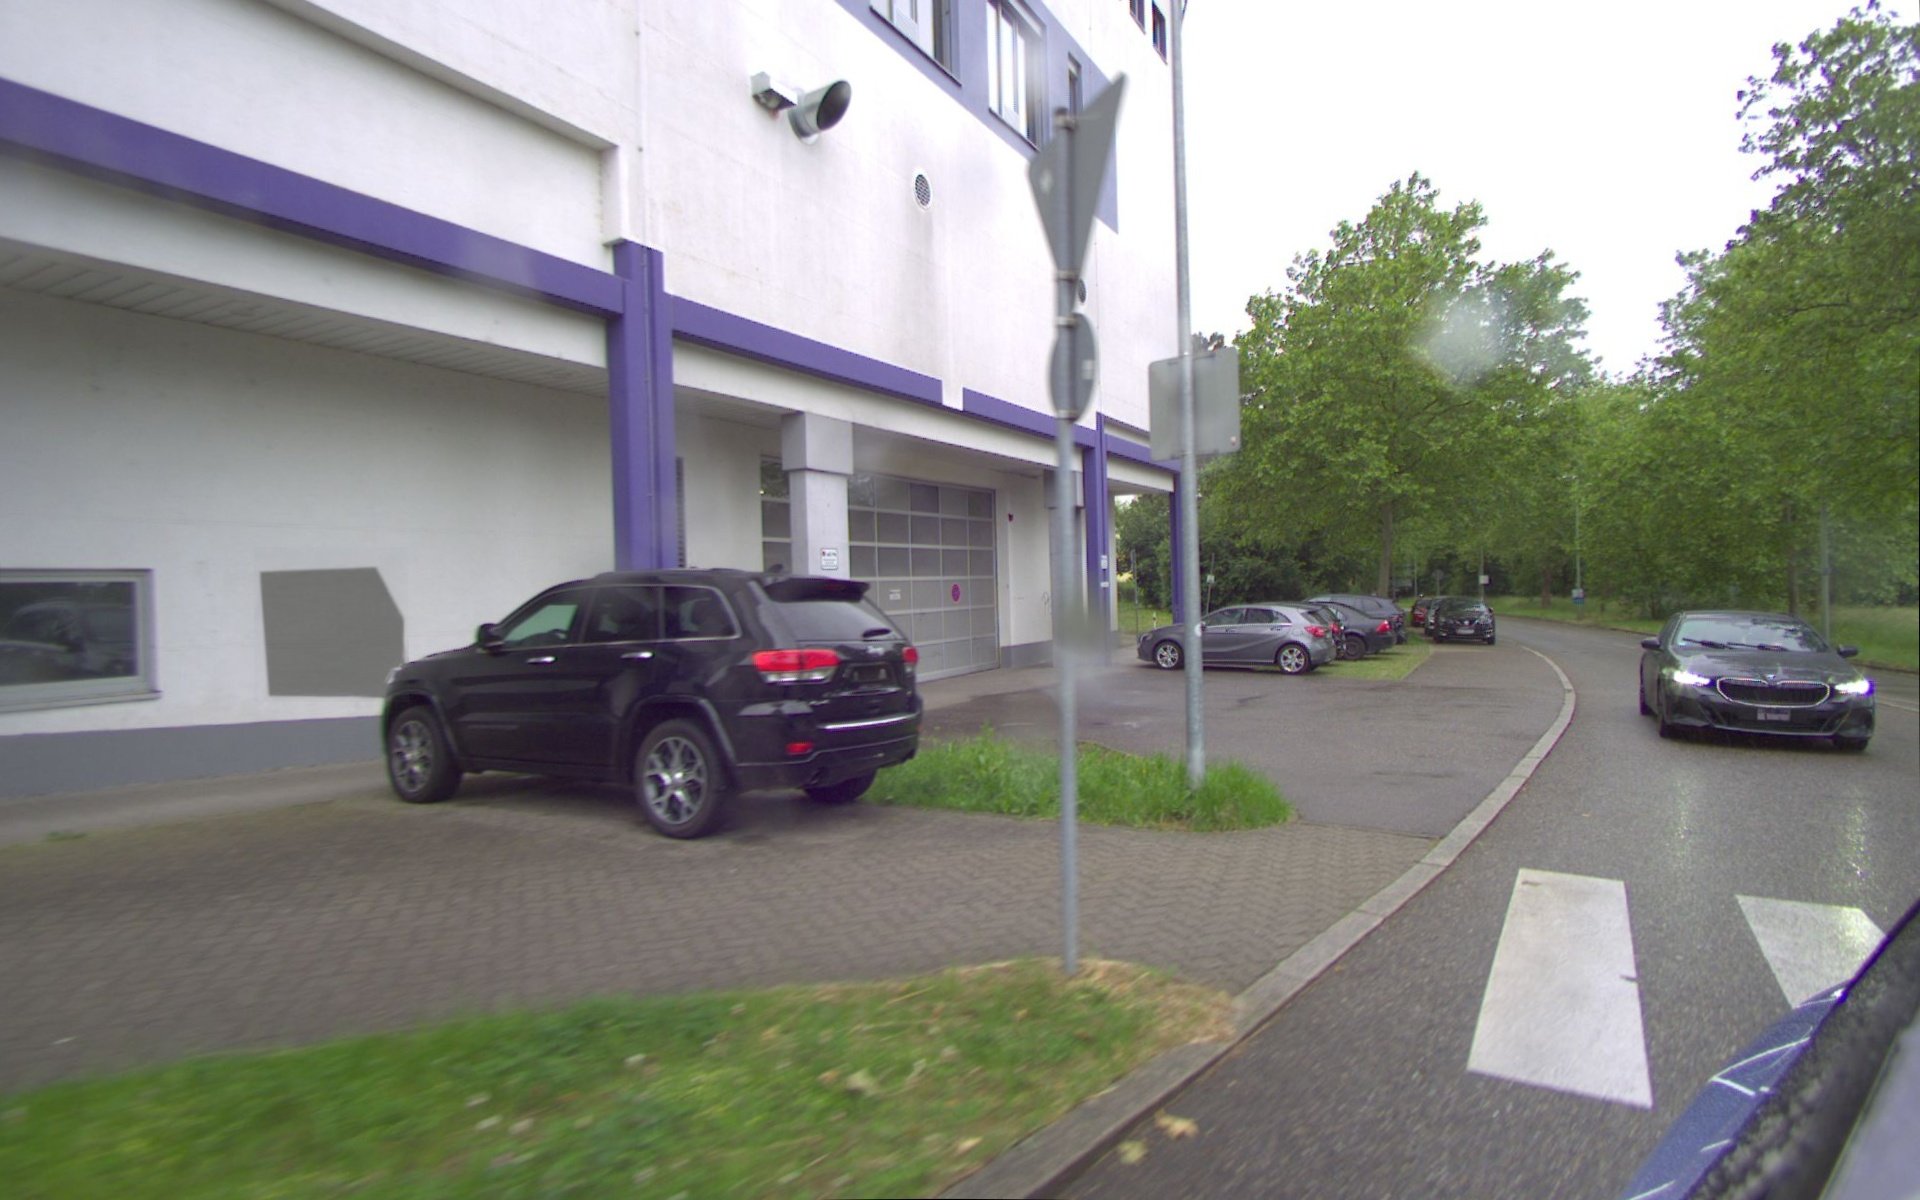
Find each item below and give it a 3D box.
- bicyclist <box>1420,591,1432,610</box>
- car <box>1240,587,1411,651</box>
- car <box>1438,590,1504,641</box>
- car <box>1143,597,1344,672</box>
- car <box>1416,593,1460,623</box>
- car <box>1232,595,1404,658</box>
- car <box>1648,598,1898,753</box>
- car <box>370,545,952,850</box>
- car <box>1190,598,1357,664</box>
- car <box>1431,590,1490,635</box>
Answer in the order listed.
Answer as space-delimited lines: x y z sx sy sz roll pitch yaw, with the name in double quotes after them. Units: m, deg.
38.444 0.010 83.525 0.688 1.516 0.796 -2 0 16 "bicyclist"
10.382 0.540 28.753 4.437 1.702 1.752 -1 -1 25 "car"
17.642 0.488 35.096 1.787 1.622 4.337 0 1 23 "car"
6.148 0.714 22.026 3.917 1.471 1.703 -1 0 30 "car"
24.089 0.373 51.094 1.782 1.389 3.716 1 1 22 "car"
9.286 0.663 26.253 4.076 1.497 1.707 -1 1 25 "car"
9.876 0.757 12.688 1.831 1.513 4.845 1 1 32 "car"
-2.379 0.617 7.812 4.353 1.782 1.809 -1 -2 30 "car"
7.530 0.716 24.322 3.593 1.471 1.704 -1 -1 28 "car"
19.234 0.425 38.992 1.714 1.611 4.221 1 1 22 "car"
